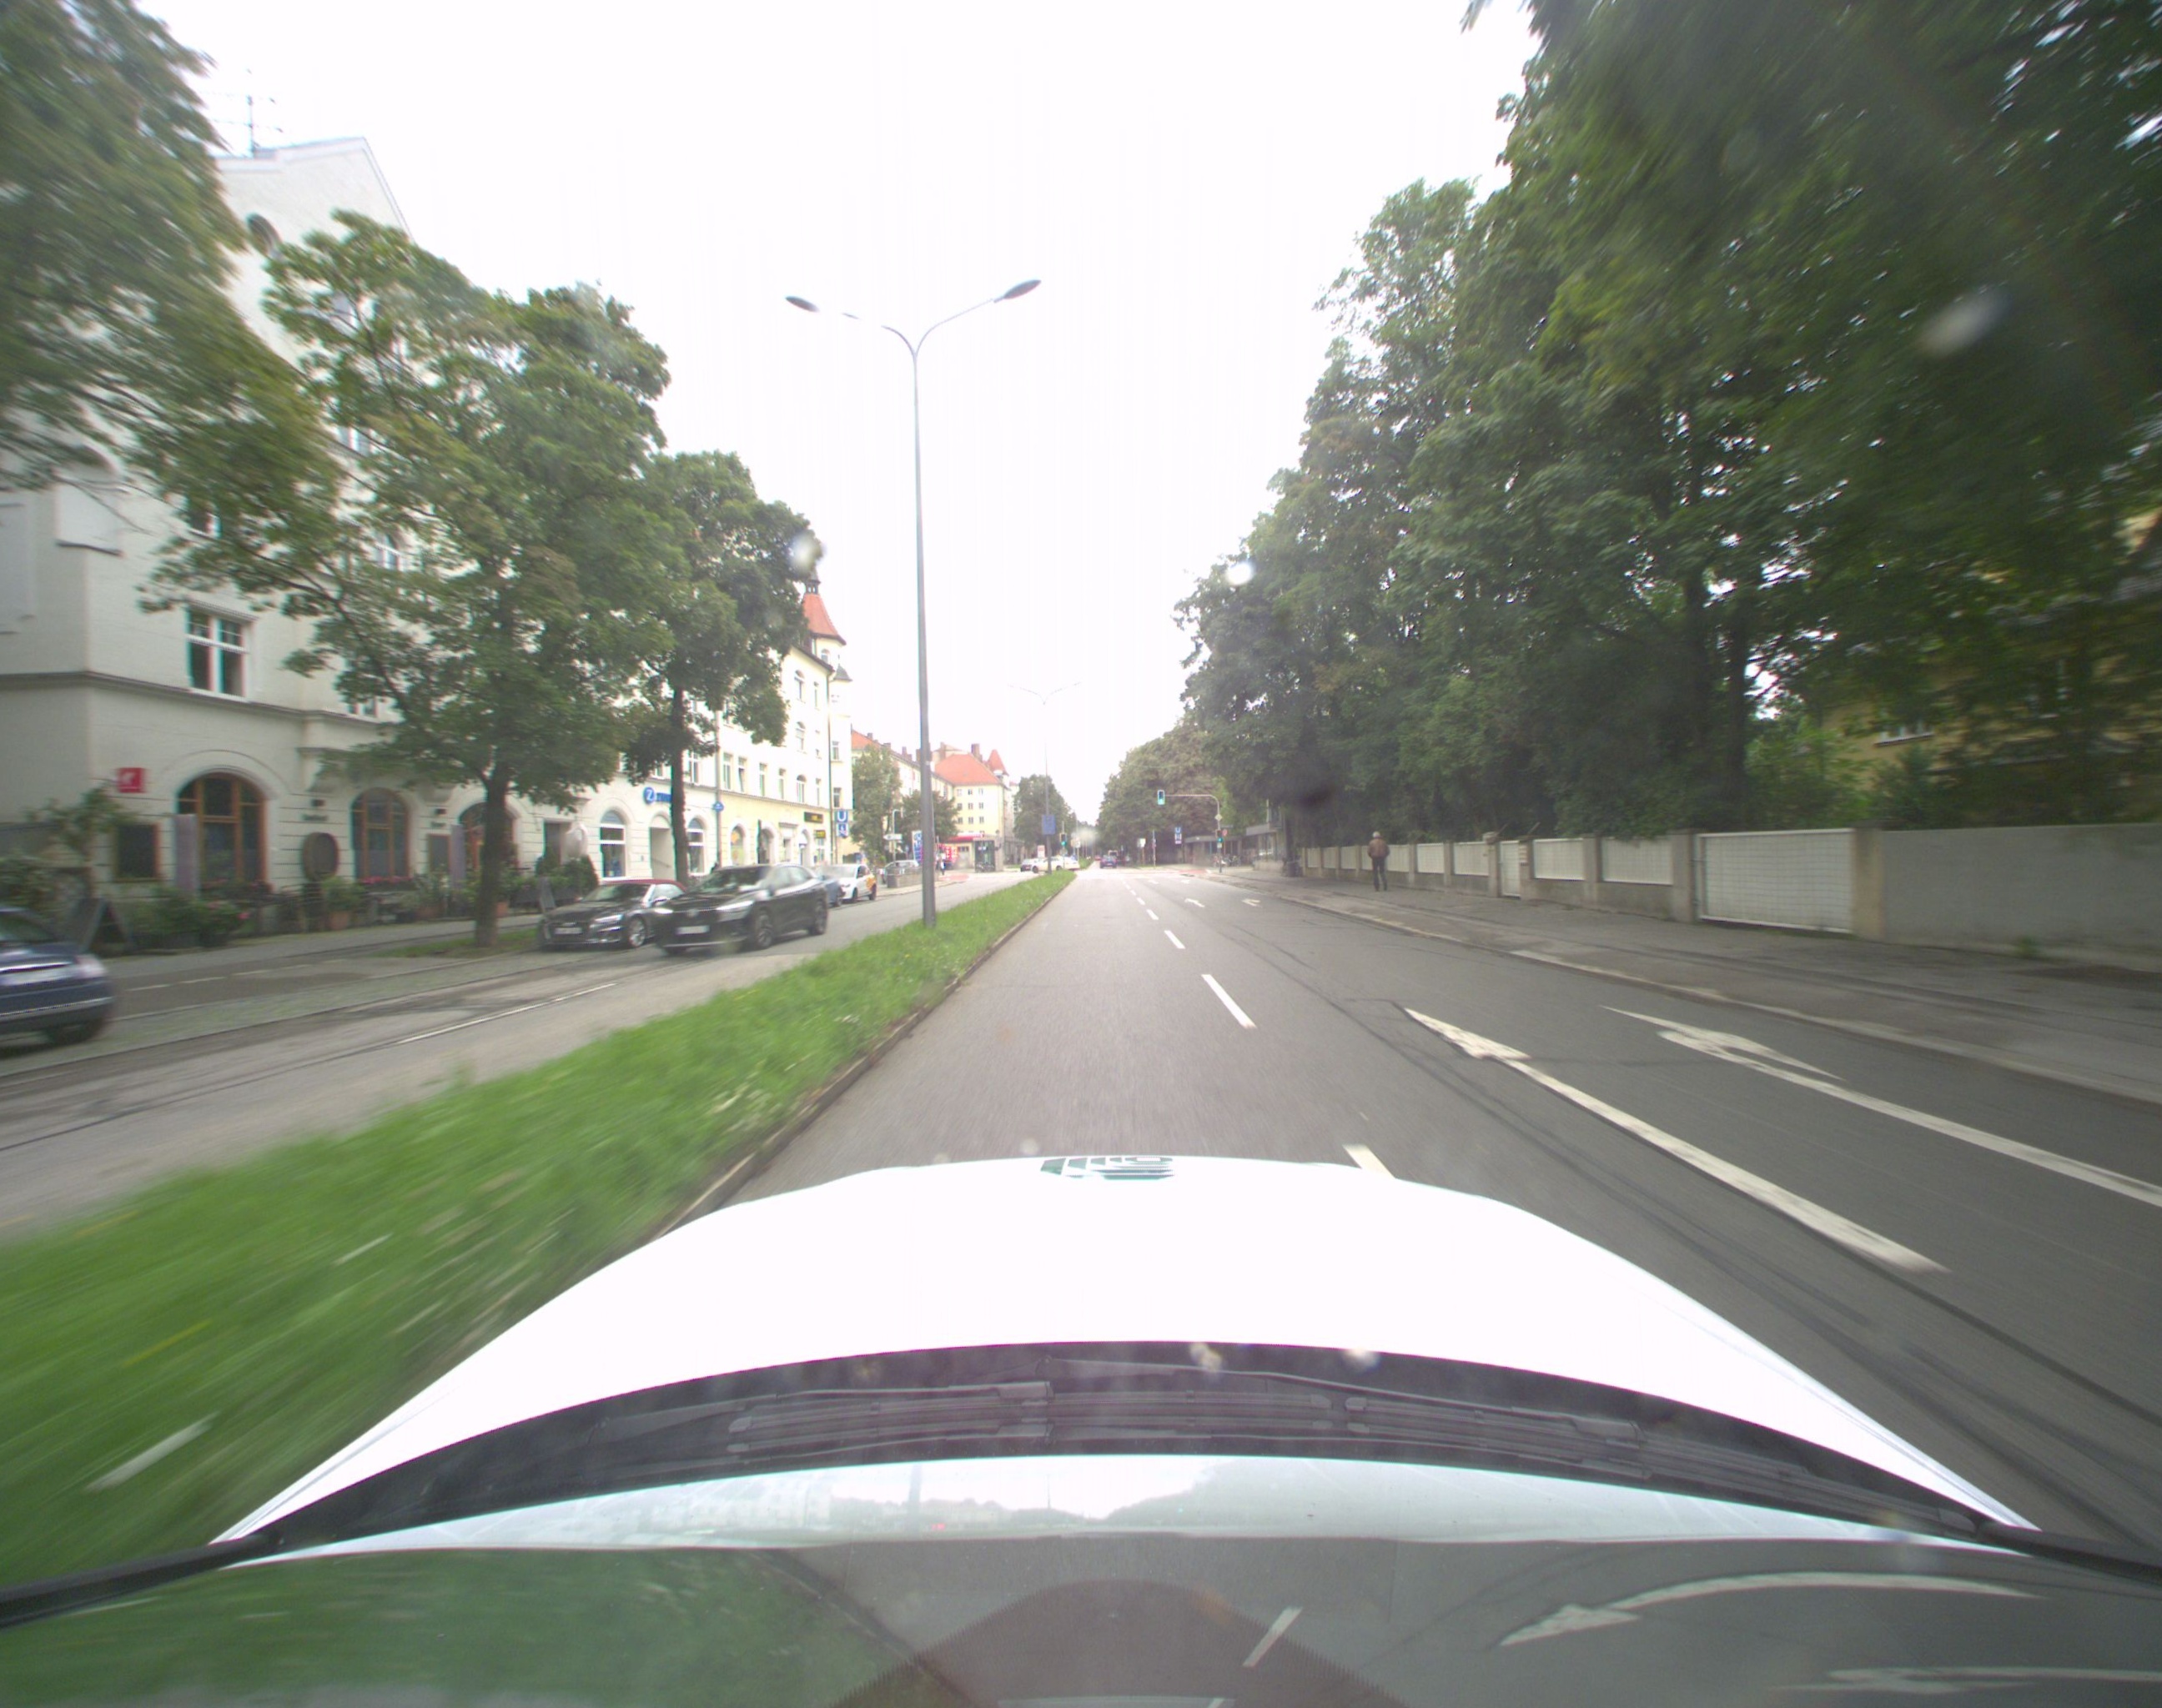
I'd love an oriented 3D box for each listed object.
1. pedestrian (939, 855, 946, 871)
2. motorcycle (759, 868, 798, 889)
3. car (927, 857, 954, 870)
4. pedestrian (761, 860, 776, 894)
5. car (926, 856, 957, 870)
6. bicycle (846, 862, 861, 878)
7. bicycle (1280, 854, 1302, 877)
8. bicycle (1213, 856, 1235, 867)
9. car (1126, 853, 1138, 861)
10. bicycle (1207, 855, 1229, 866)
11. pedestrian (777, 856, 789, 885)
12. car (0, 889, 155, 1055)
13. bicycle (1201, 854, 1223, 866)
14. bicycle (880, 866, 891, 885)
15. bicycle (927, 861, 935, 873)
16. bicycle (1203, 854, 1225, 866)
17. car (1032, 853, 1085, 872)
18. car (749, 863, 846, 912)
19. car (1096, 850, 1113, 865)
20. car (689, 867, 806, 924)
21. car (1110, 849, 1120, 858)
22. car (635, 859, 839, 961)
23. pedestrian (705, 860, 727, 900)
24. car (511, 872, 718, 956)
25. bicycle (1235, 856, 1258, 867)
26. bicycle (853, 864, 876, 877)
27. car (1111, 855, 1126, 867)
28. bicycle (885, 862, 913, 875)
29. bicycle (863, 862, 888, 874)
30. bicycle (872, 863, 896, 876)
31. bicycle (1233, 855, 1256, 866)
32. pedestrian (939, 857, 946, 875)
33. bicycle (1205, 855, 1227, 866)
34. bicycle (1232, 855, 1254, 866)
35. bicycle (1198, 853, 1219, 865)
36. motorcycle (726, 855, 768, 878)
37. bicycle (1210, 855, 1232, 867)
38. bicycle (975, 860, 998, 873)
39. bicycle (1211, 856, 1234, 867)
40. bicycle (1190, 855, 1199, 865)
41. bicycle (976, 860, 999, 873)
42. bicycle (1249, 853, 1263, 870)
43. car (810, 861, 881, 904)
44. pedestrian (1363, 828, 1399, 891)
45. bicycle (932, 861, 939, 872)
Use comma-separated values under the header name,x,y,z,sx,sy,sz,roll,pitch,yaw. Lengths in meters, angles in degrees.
name,x,y,z,sx,sy,sz,roll,pitch,yaw
pedestrian,-15.255,1.002,89.931,0.593,1.695,0.571,-1,0,-29
motorcycle,-17.066,1.382,45.955,0.602,1.122,1.999,-2,-1,41
car,-22.564,1.486,130.986,3.978,2.013,1.889,-2,0,-3
pedestrian,-15.746,1.138,41.010,0.594,1.697,0.937,-1,0,-26
car,-19.334,1.262,113.232,3.976,1.838,1.879,-2,0,-2
bicycle,-14.565,1.013,52.089,0.471,0.980,1.546,-2,0,2
bicycle,10.751,0.576,41.822,0.620,1.090,2.026,-2,0,1
bicycle,13.772,0.713,78.467,2.130,1.014,0.636,-2,0,9
car,8.797,0.570,140.690,1.737,1.363,3.807,-2,0,1
bicycle,13.448,0.633,79.933,2.130,1.101,0.604,-2,0,9
pedestrian,-16.928,0.949,46.314,0.421,1.631,0.781,-2,0,-8
car,-11.785,1.155,7.755,3.877,1.464,1.732,-2,0,-1
bicycle,13.201,0.572,82.121,2.130,1.178,0.604,-2,0,9
bicycle,-11.747,1.288,49.022,0.395,1.115,1.809,-2,0,-7
bicycle,-16.174,1.373,87.774,0.607,1.236,2.183,-2,0,-5
bicycle,13.315,0.614,81.381,2.130,1.086,0.604,-2,0,9
car,-2.073,0.785,73.429,4.720,1.647,1.796,-2,0,41
car,-9.965,1.137,28.972,1.804,1.507,4.292,-2,0,1
car,2.653,0.379,93.300,1.850,1.684,4.001,-2,0,1
car,-10.026,1.200,24.828,1.804,1.507,3.961,-2,0,1
car,7.125,-0.106,173.092,1.987,1.756,4.000,-2,0,1
car,-6.538,0.966,16.150,1.868,1.585,4.622,-4,0,2
pedestrian,-15.914,1.118,35.510,0.541,1.697,0.770,-2,0,-1
car,-10.127,1.219,18.196,1.804,1.507,4.647,-2,0,1
bicycle,15.965,0.716,78.734,2.130,1.014,0.636,-2,0,9
bicycle,-21.803,1.629,82.113,2.179,1.236,0.764,-2,0,-9
car,5.249,0.955,113.723,1.916,1.684,3.999,0,-1,0
bicycle,-18.566,1.489,83.233,2.720,1.251,0.786,0,-1,-29
bicycle,-20.859,1.400,82.827,2.394,1.251,0.789,0,-1,-10
bicycle,-19.869,1.560,82.172,2.180,1.236,0.763,-2,0,-11
bicycle,15.931,0.623,79.533,2.130,1.014,0.636,-2,0,9
pedestrian,-13.706,1.191,80.680,0.531,1.695,0.579,-2,0,10
bicycle,13.338,0.645,80.650,2.130,1.014,0.604,-2,0,9
bicycle,15.956,0.631,80.300,2.130,1.014,0.636,-2,0,9
bicycle,13.257,0.521,84.423,2.130,1.218,0.604,-2,0,9
motorcycle,-17.697,0.656,43.166,0.602,1.130,1.999,-2,-1,41
bicycle,13.639,0.695,79.265,2.130,1.071,0.604,-2,0,9
bicycle,-10.008,1.302,86.188,2.262,1.304,0.704,-2,0,2
bicycle,13.558,0.728,77.846,2.130,1.014,0.604,-2,0,9
bicycle,12.143,0.663,87.152,0.555,1.014,2.015,-2,0,-1
bicycle,-9.964,1.292,86.968,2.276,1.304,0.694,-2,0,2
bicycle,12.213,0.542,56.951,0.597,1.121,1.890,-2,-1,2
car,-9.703,1.136,33.842,1.642,1.585,3.793,-2,0,3
pedestrian,9.579,0.177,26.034,0.775,1.942,0.802,-3,0,1
bicycle,-16.412,1.422,91.926,0.607,1.145,1.962,-2,0,-5
